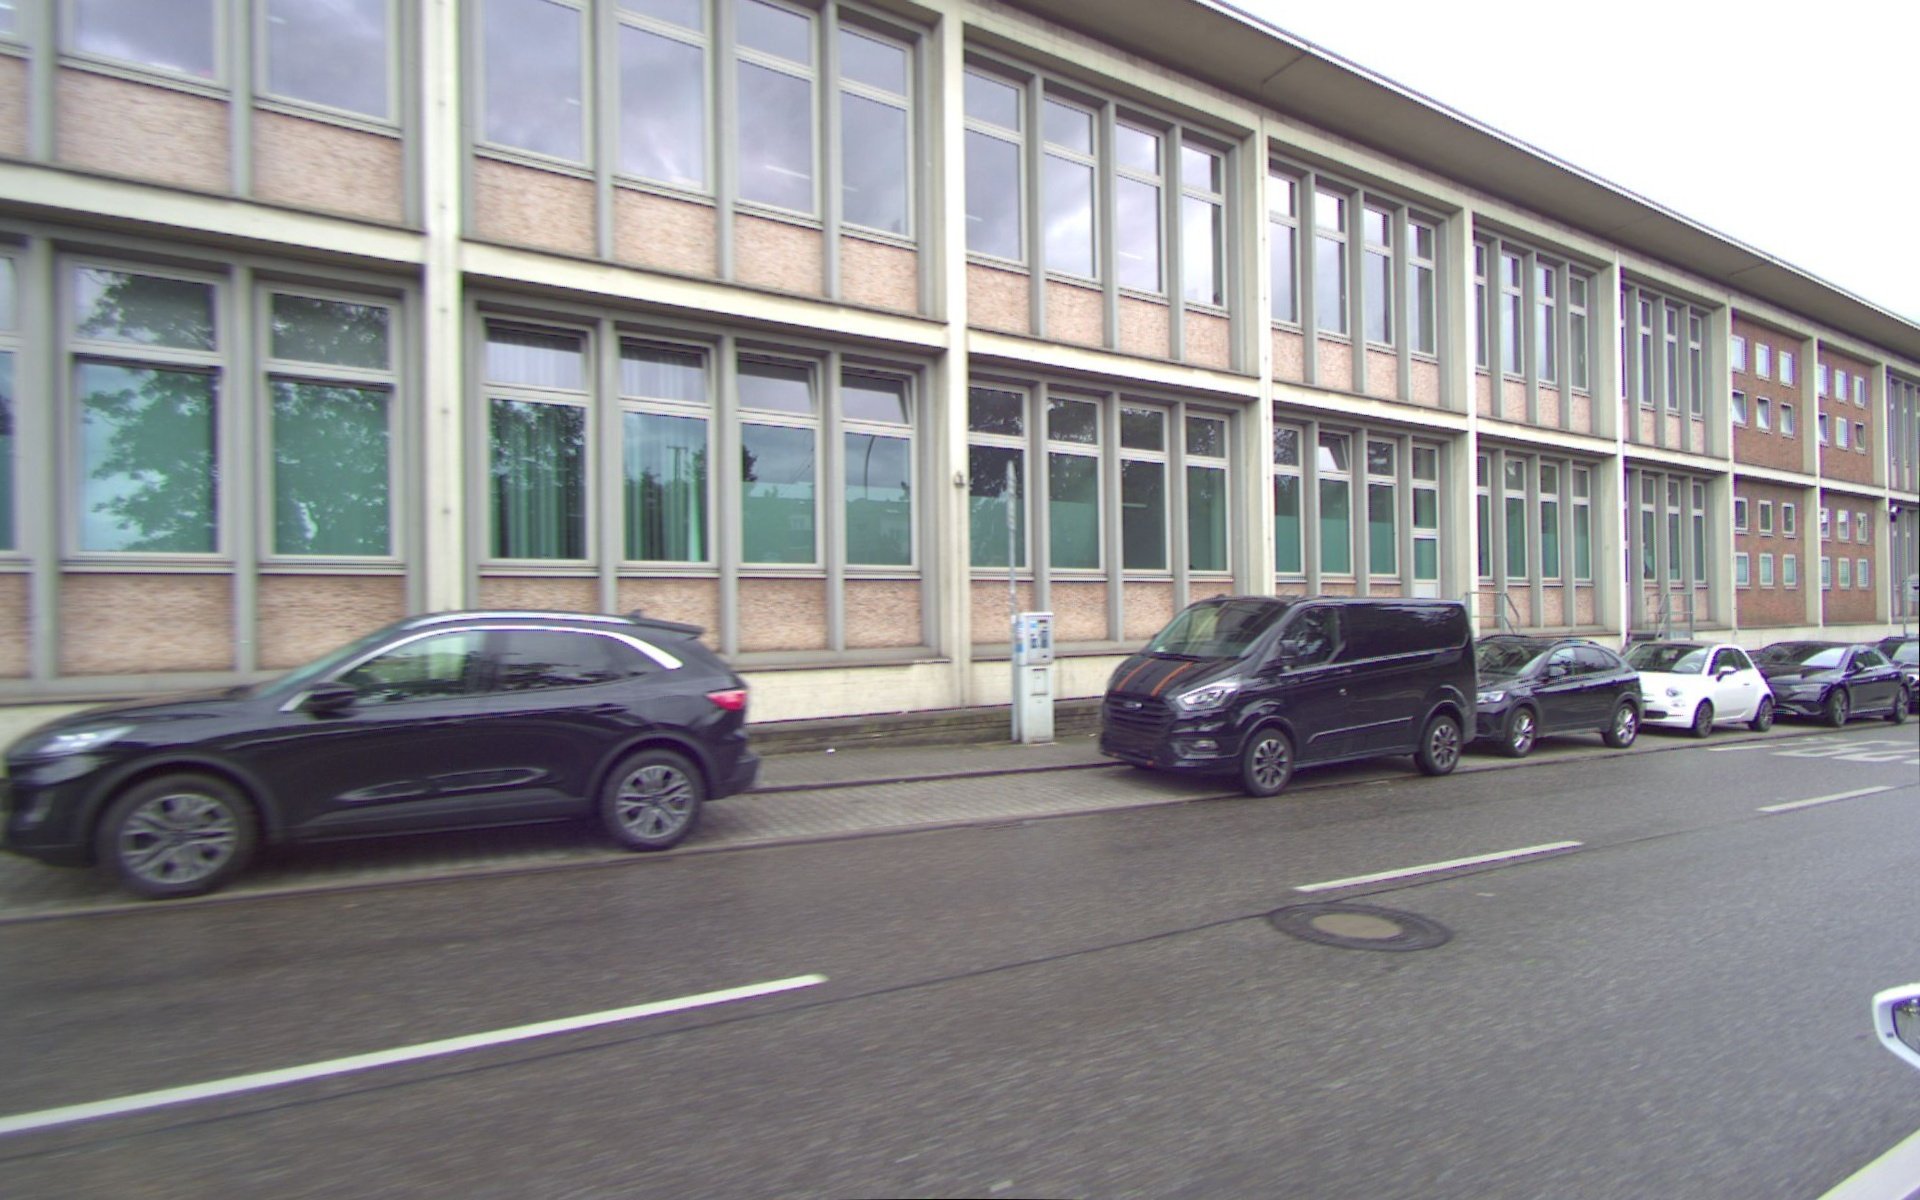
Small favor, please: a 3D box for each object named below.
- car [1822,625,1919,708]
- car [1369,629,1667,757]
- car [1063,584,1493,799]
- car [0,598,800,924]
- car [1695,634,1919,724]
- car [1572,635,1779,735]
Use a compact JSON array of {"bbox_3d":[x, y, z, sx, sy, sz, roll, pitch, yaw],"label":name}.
[{"bbox_3d":[21.612,1.492,22.837,4.467,1.675,1.831,2,0,-33],"label":"car"},{"bbox_3d":[8.054,1.216,14.431,4.261,1.572,1.852,1,-1,-30],"label":"car"},{"bbox_3d":[3.711,0.883,11.379,4.941,1.969,1.938,1,-1,-32],"label":"car"},{"bbox_3d":[-3.588,0.877,7.059,4.547,1.698,1.789,1,-1,-29],"label":"car"},{"bbox_3d":[16.372,1.427,19.345,4.851,1.503,1.807,1,-1,-30],"label":"car"},{"bbox_3d":[12.106,1.359,16.973,3.511,1.503,1.559,1,-1,-30],"label":"car"}]
